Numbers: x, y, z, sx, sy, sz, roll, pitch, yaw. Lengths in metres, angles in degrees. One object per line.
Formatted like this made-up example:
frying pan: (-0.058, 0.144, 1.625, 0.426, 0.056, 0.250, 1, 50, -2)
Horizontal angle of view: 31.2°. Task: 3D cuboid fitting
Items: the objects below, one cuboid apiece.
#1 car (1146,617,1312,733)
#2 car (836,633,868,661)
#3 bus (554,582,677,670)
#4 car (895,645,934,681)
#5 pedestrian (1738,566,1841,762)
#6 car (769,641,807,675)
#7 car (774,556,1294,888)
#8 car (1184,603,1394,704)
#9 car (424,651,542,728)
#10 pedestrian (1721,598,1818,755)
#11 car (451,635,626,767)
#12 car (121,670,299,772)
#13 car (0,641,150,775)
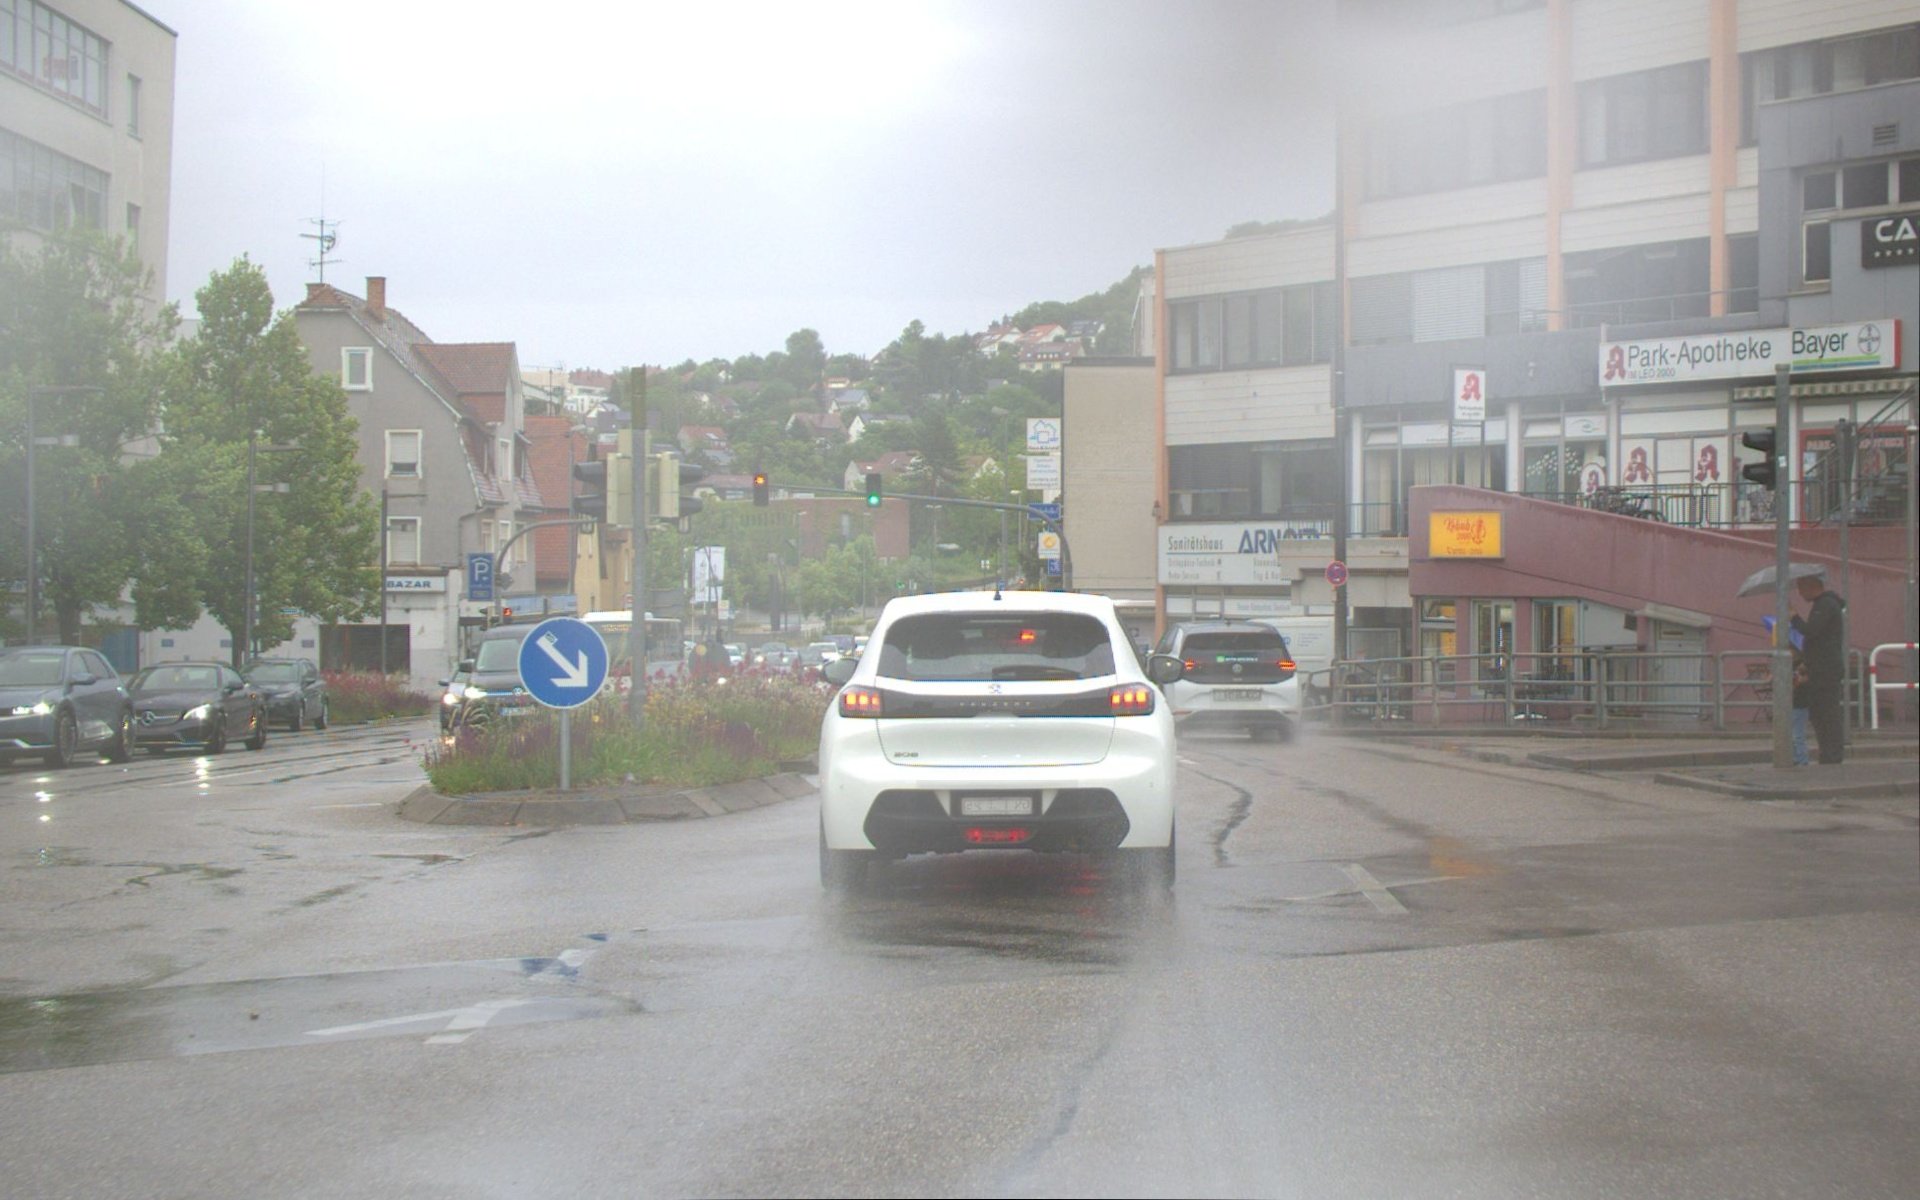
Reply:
car: (3.415, 0.937, 44.227, 1.911, 1.395, 3.457, 0, 0, 1)
car: (-6.244, 2.722, 199.076, 1.746, 1.550, 4.000, -1, 0, -1)
bus: (-11.419, 0.819, 114.951, 2.938, 2.774, 9.504, -1, 0, 1)
car: (-2.111, 2.884, 158.388, 1.746, 1.550, 4.000, -1, 0, -1)
pedestrian: (6.997, 0.533, 29.015, 0.708, 1.602, 0.655, -2, 2, 4)
car: (-8.465, 2.845, 169.196, 1.746, 1.550, 4.000, -1, 0, -1)
car: (0.502, 0.540, 17.539, 1.873, 1.457, 3.871, 1, 0, 13)
car: (7.509, 1.199, 78.932, 1.994, 2.219, 4.975, -1, 0, -36)
car: (-9.320, 1.730, 67.496, 1.725, 1.383, 4.455, -1, 0, -1)
pedestrian: (7.029, 0.663, 29.873, 0.708, 1.341, 0.655, -1, 0, 4)
car: (-6.260, 1.514, 51.520, 1.993, 1.817, 4.298, -2, -2, 0)
car: (-11.303, 1.793, 52.105, 1.725, 1.383, 4.600, -1, 0, -1)
car: (-12.190, 1.410, 45.332, 1.774, 1.588, 4.588, -4, 0, 1)
